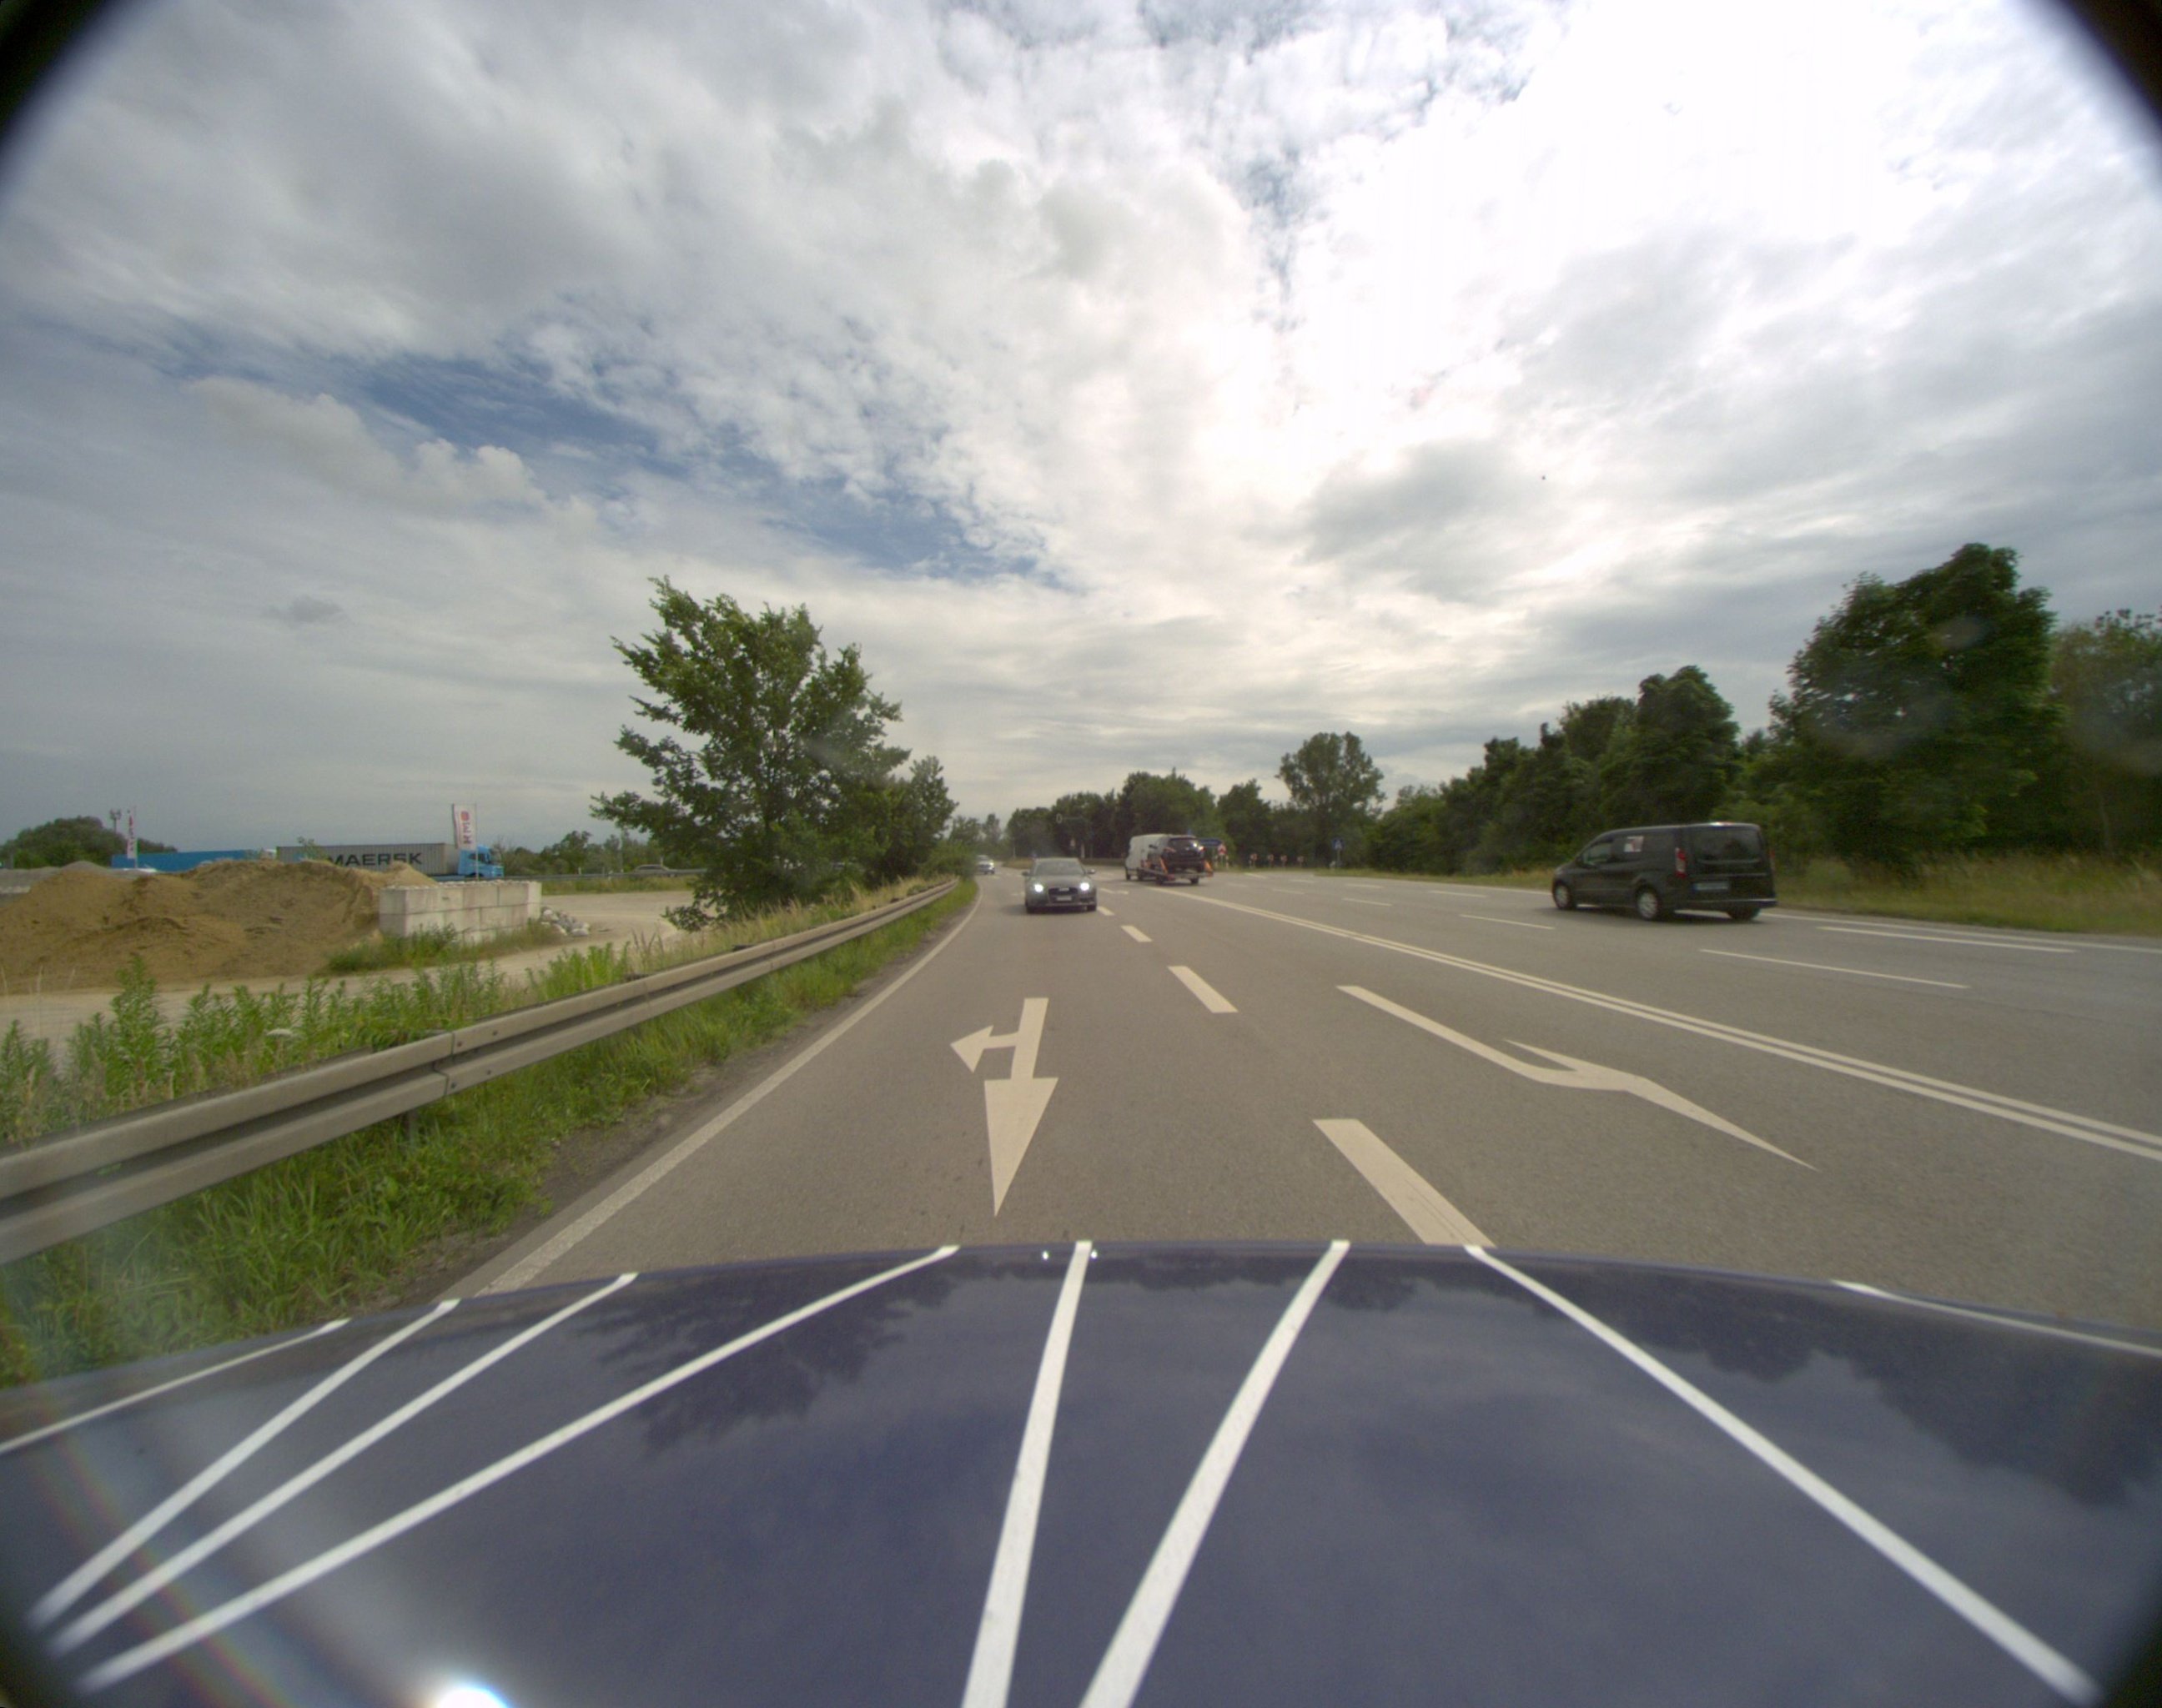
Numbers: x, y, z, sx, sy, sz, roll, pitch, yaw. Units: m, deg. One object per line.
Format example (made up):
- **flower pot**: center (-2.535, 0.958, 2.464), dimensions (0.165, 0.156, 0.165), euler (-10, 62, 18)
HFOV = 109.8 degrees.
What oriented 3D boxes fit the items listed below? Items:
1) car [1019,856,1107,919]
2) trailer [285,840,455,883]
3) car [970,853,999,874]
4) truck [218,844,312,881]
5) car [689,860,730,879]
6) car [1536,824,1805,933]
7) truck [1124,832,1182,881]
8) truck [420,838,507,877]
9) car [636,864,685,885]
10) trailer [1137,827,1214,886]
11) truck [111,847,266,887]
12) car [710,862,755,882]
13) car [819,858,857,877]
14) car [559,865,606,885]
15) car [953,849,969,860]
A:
- **car**: center (-0.602, 0.868, 21.118), dimensions (1.959, 1.527, 3.997), euler (-2, 0, -8)
- **trailer**: center (-63.392, 0.645, 68.012), dimensions (11.236, 3.290, 2.389), euler (-3, 0, -14)
- **car**: center (-8.157, 0.780, 64.180), dimensions (2.022, 1.603, 4.276), euler (-2, 0, -12)
- **truck**: center (-74.554, 0.803, 69.496), dimensions (5.980, 3.036, 2.392), euler (-3, 0, 2)
- **car**: center (-43.044, 1.827, 88.201), dimensions (4.003, 2.002, 1.928), euler (-2, 0, -19)
- **car**: center (11.225, 0.421, 14.960), dimensions (1.998, 1.786, 4.320), euler (-2, 0, 2)
- **truck**: center (3.777, 0.122, 40.874), dimensions (2.029, 2.430, 5.021), euler (-2, 0, -7)
- **truck**: center (-56.657, 0.353, 69.867), dimensions (5.600, 3.286, 2.388), euler (-3, 0, -19)
- **car**: center (-42.317, 2.086, 76.511), dimensions (4.003, 2.001, 1.928), euler (-1, -1, -19)
- **trailer**: center (4.319, 0.103, 35.941), dimensions (2.029, 2.430, 6.962), euler (-2, 0, -6)
- **truck**: center (-81.917, 1.169, 69.796), dimensions (11.748, 3.036, 2.392), euler (-3, 0, 2)
- **car**: center (-35.839, 1.844, 78.289), dimensions (4.003, 2.001, 1.928), euler (-1, -1, -19)
- **car**: center (-27.532, 1.505, 86.355), dimensions (4.002, 2.002, 1.997), euler (-2, 0, -17)
- **car**: center (-55.018, 2.344, 83.933), dimensions (4.003, 2.002, 1.928), euler (-2, 0, -19)
- **car**: center (-24.464, 0.123, 155.064), dimensions (2.002, 2.002, 3.991), euler (-3, 1, -26)
